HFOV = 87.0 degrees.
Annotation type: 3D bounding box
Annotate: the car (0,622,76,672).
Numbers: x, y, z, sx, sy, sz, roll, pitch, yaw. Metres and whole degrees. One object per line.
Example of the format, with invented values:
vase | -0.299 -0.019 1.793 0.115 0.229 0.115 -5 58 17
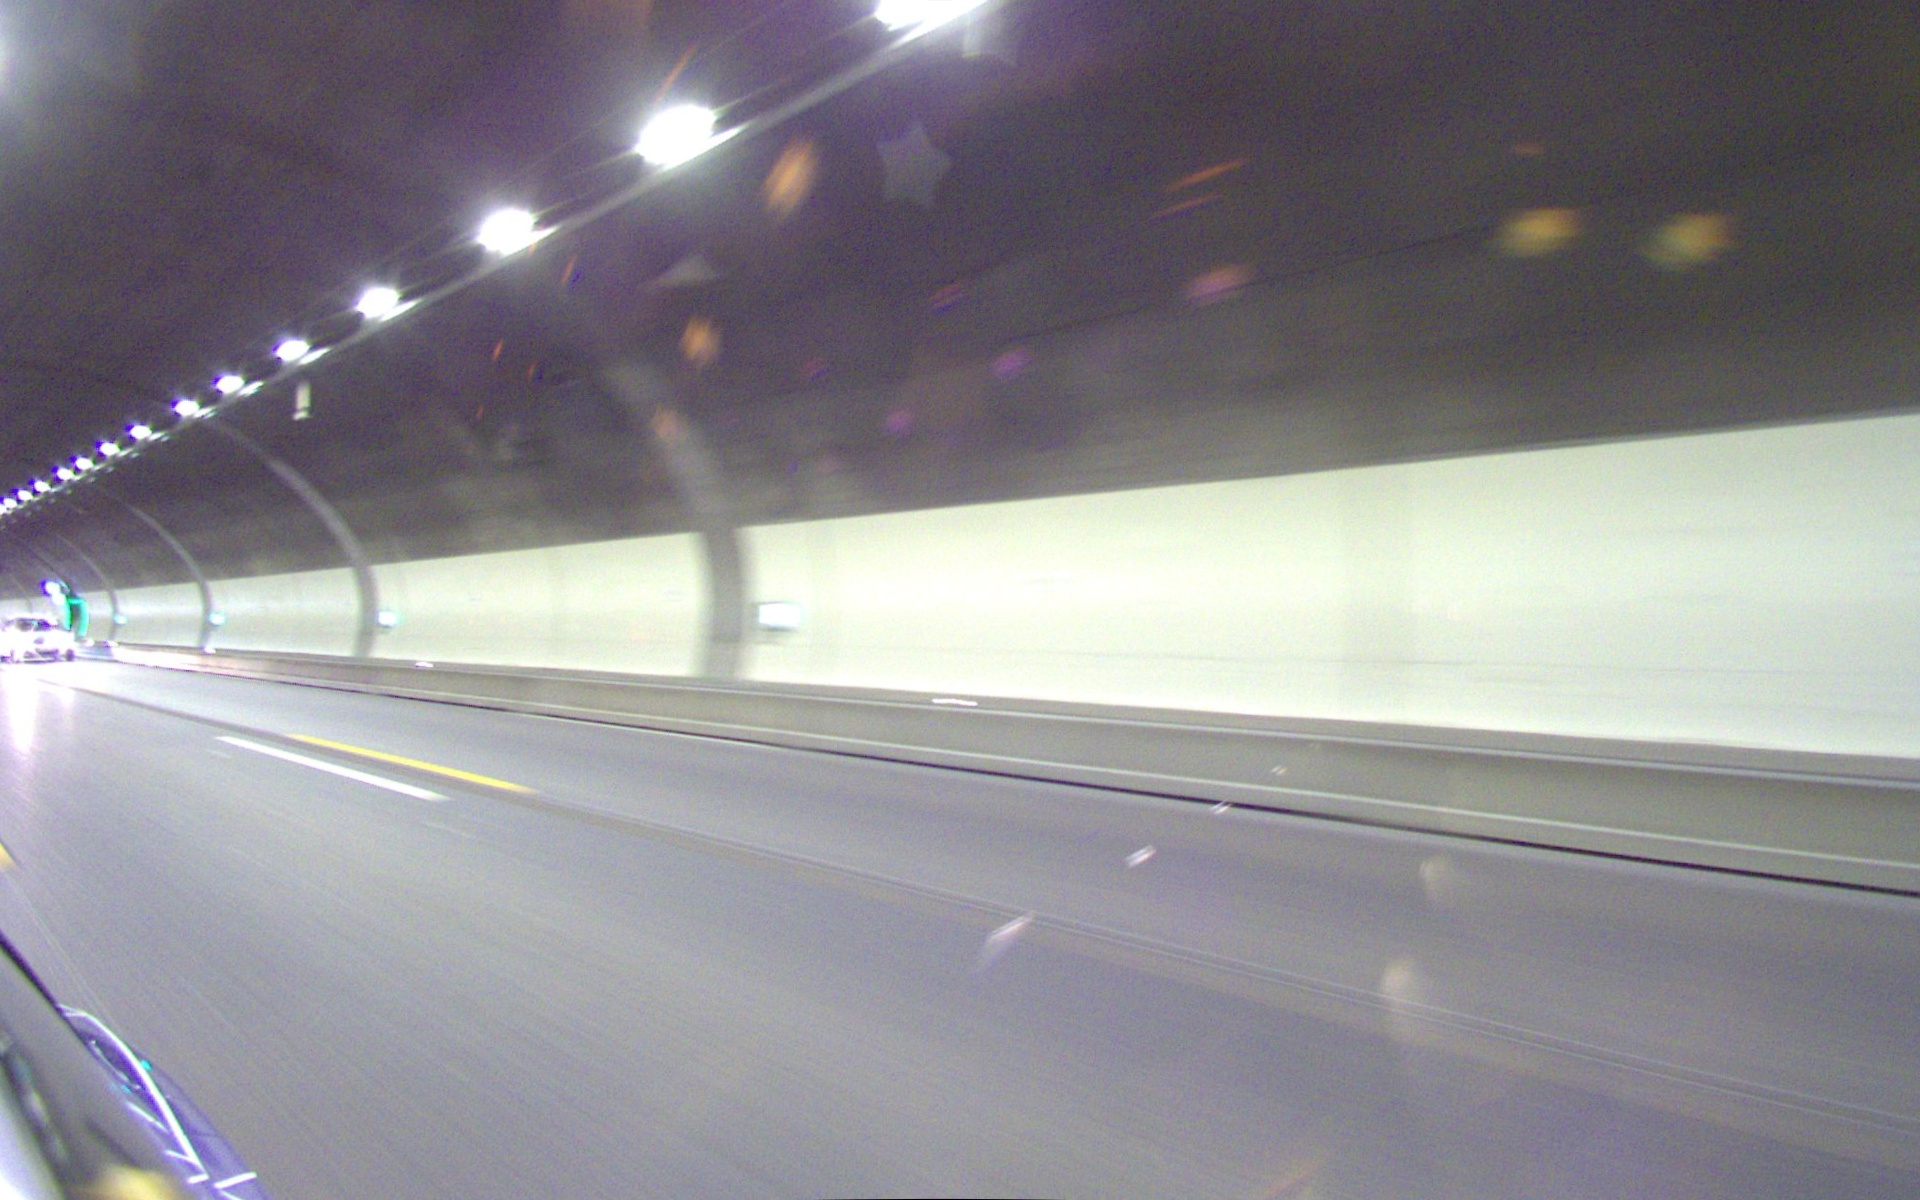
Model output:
car | -31.952 1.578 34.808 4.094 1.584 1.744 -1 -1 40
